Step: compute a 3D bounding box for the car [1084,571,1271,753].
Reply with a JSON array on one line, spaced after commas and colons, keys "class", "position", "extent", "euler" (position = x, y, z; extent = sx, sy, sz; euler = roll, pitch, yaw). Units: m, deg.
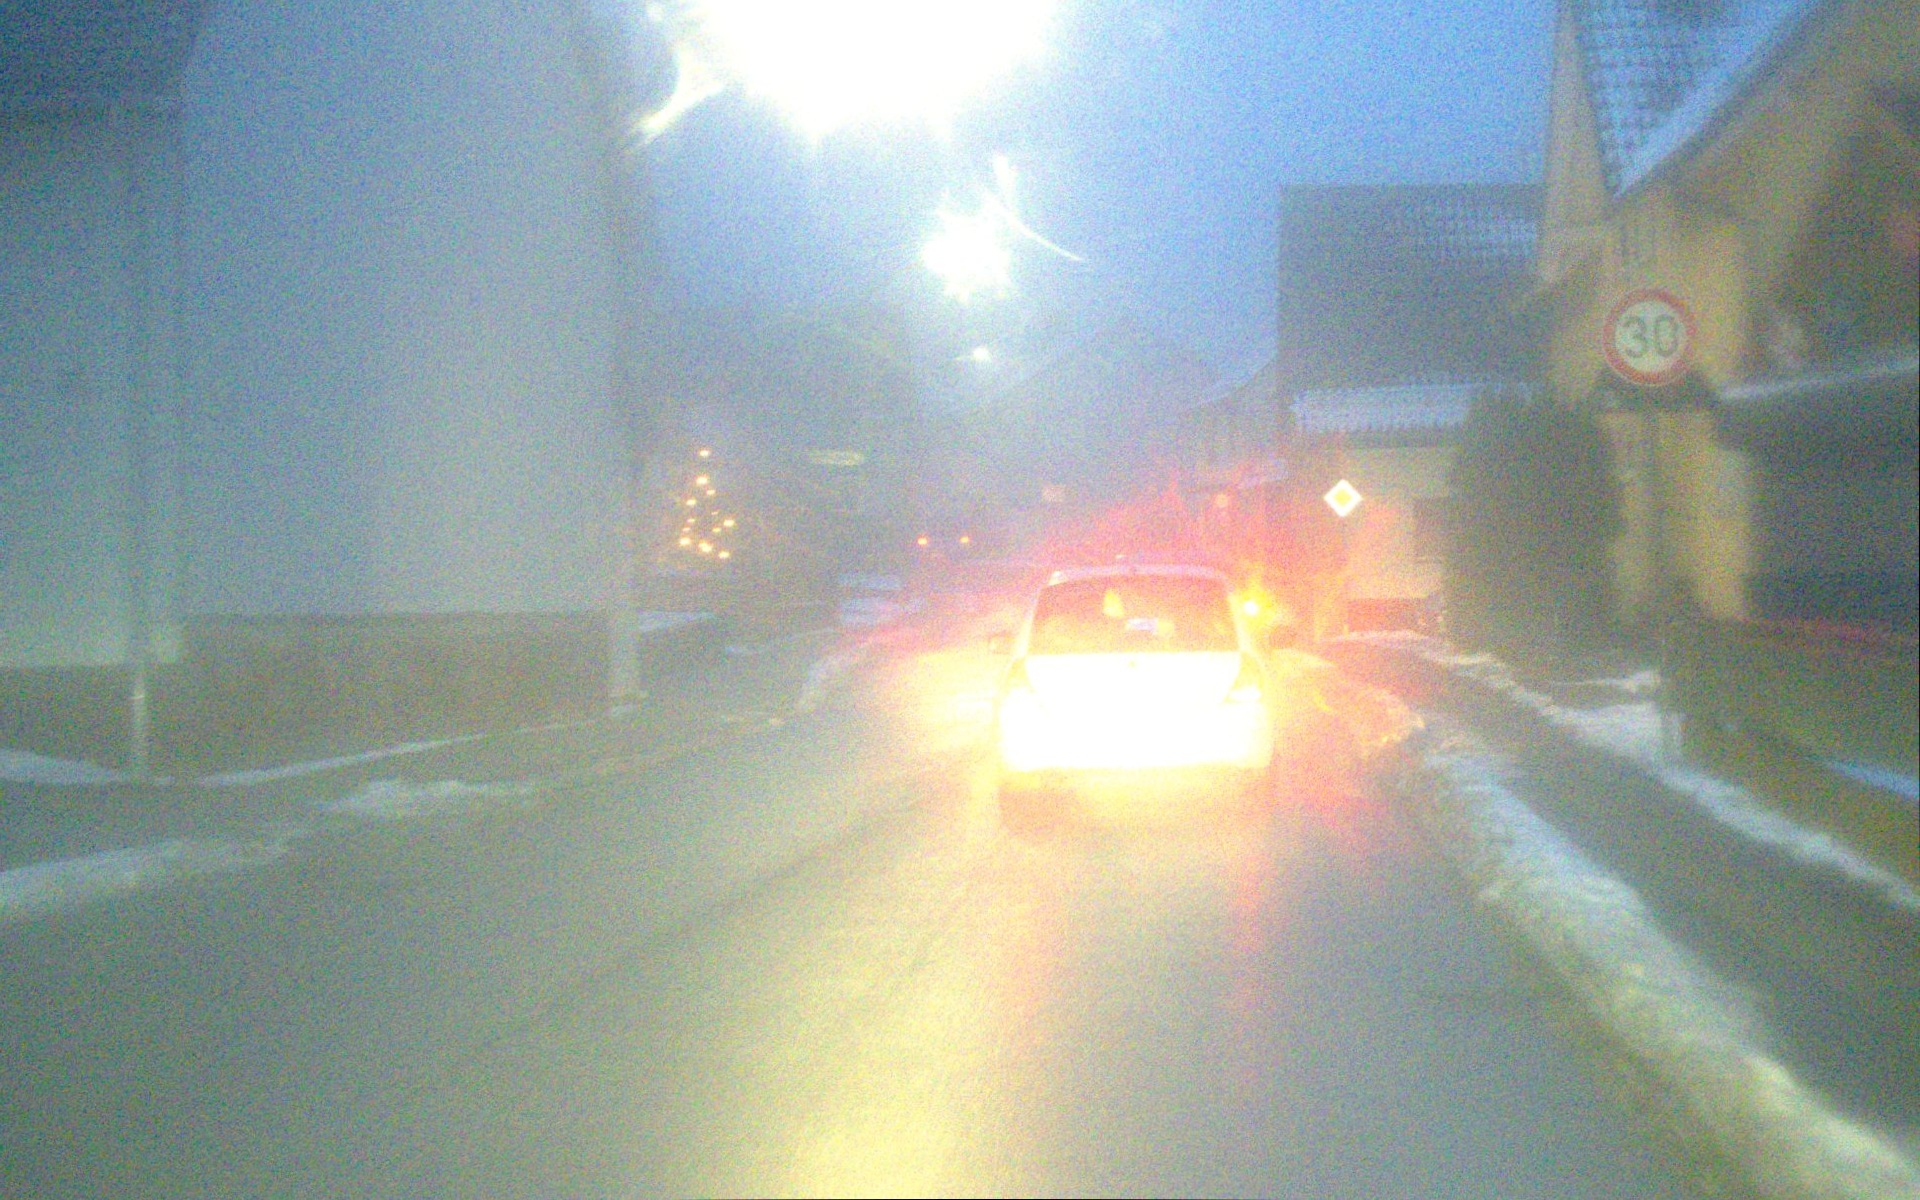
[{"class": "car", "position": [2.078, 0.544, 32.147], "extent": [1.645, 1.590, 3.699], "euler": [0, 0, 5]}]

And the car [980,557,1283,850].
[{"class": "car", "position": [1.089, 0.564, 20.602], "extent": [1.645, 1.590, 3.699], "euler": [0, 0, 5]}]
